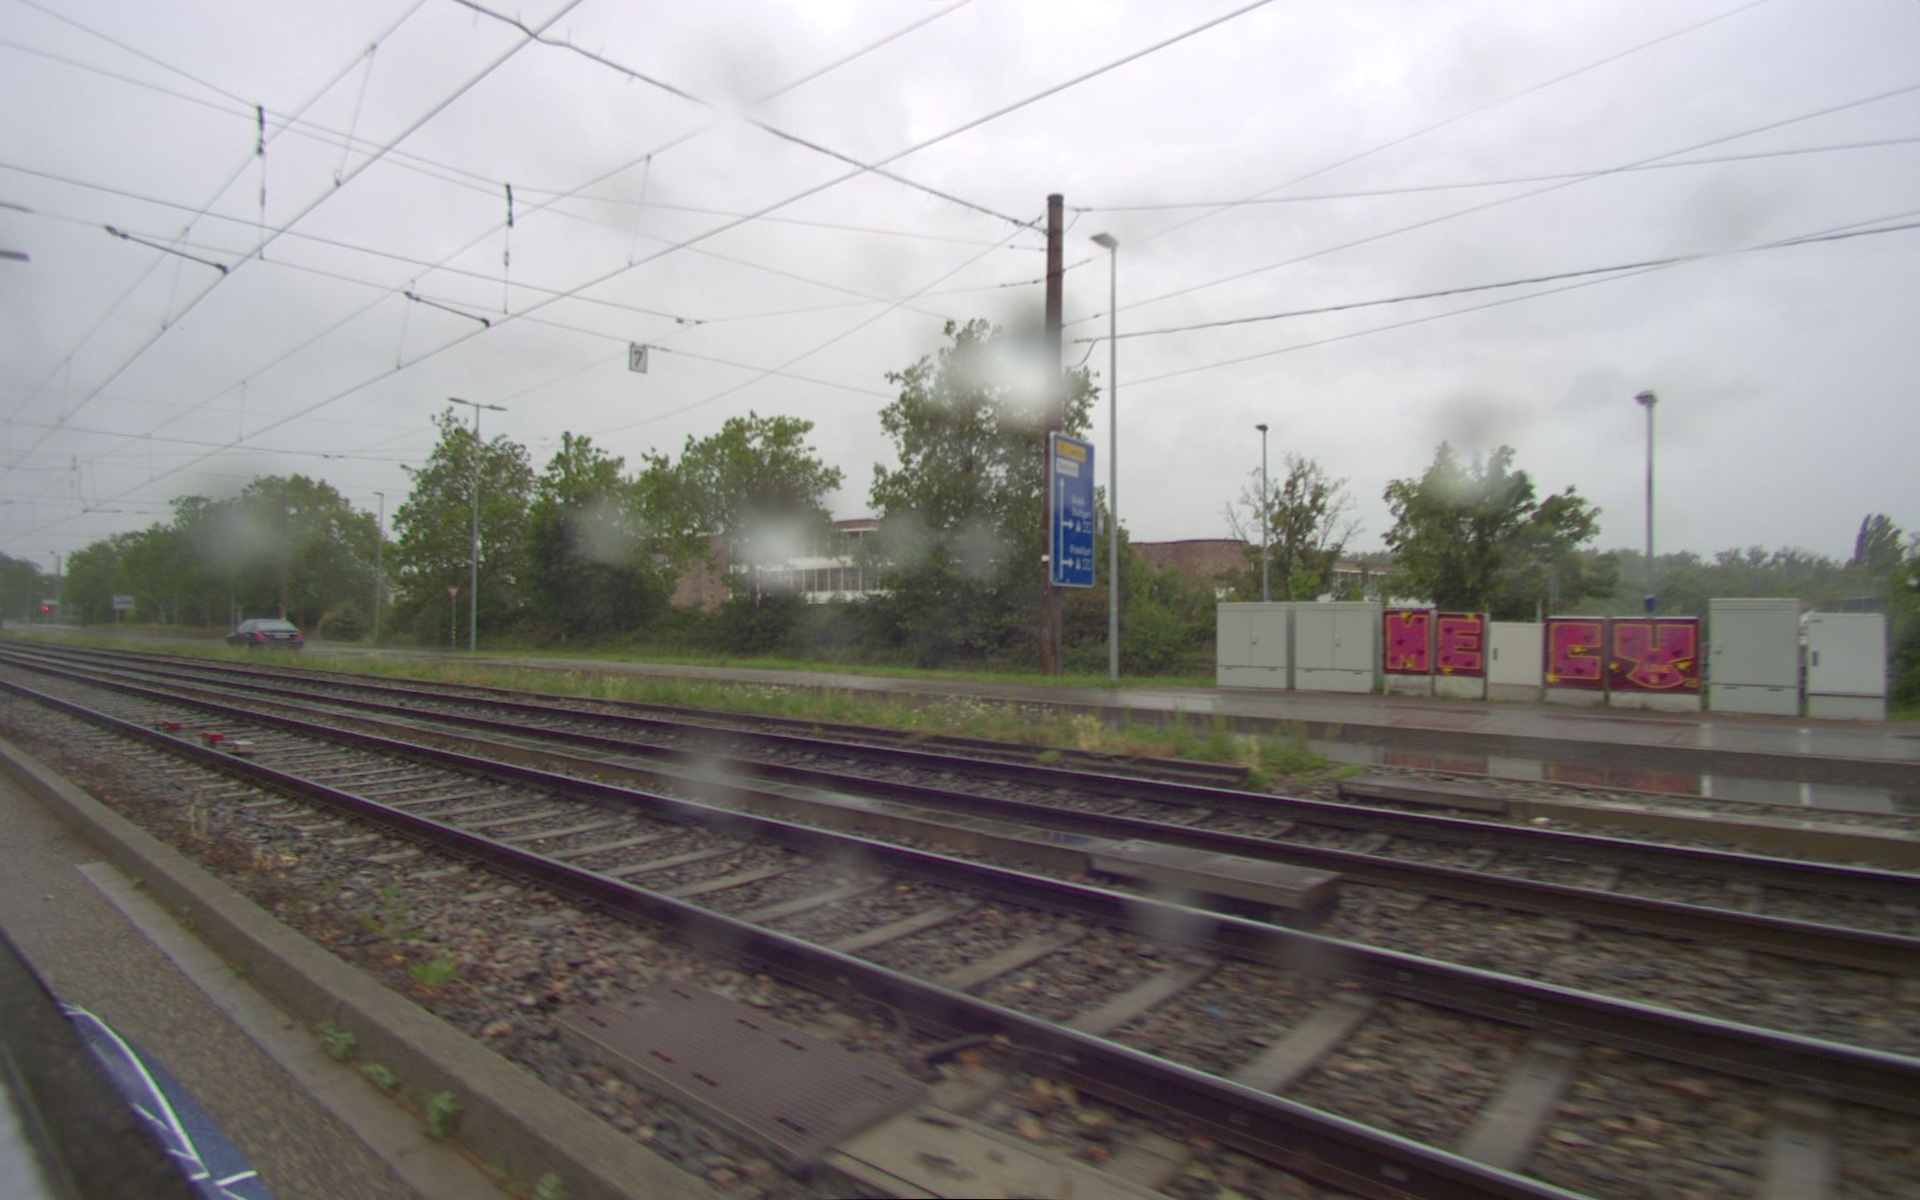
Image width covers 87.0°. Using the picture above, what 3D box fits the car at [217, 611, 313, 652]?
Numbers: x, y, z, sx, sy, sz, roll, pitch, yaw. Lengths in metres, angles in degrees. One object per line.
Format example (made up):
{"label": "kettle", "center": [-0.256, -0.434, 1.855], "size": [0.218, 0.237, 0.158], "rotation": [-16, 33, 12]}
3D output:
{"label": "car", "center": [-28.333, 1.248, 41.203], "size": [4.953, 1.534, 1.973], "rotation": [-1, 0, 40]}
